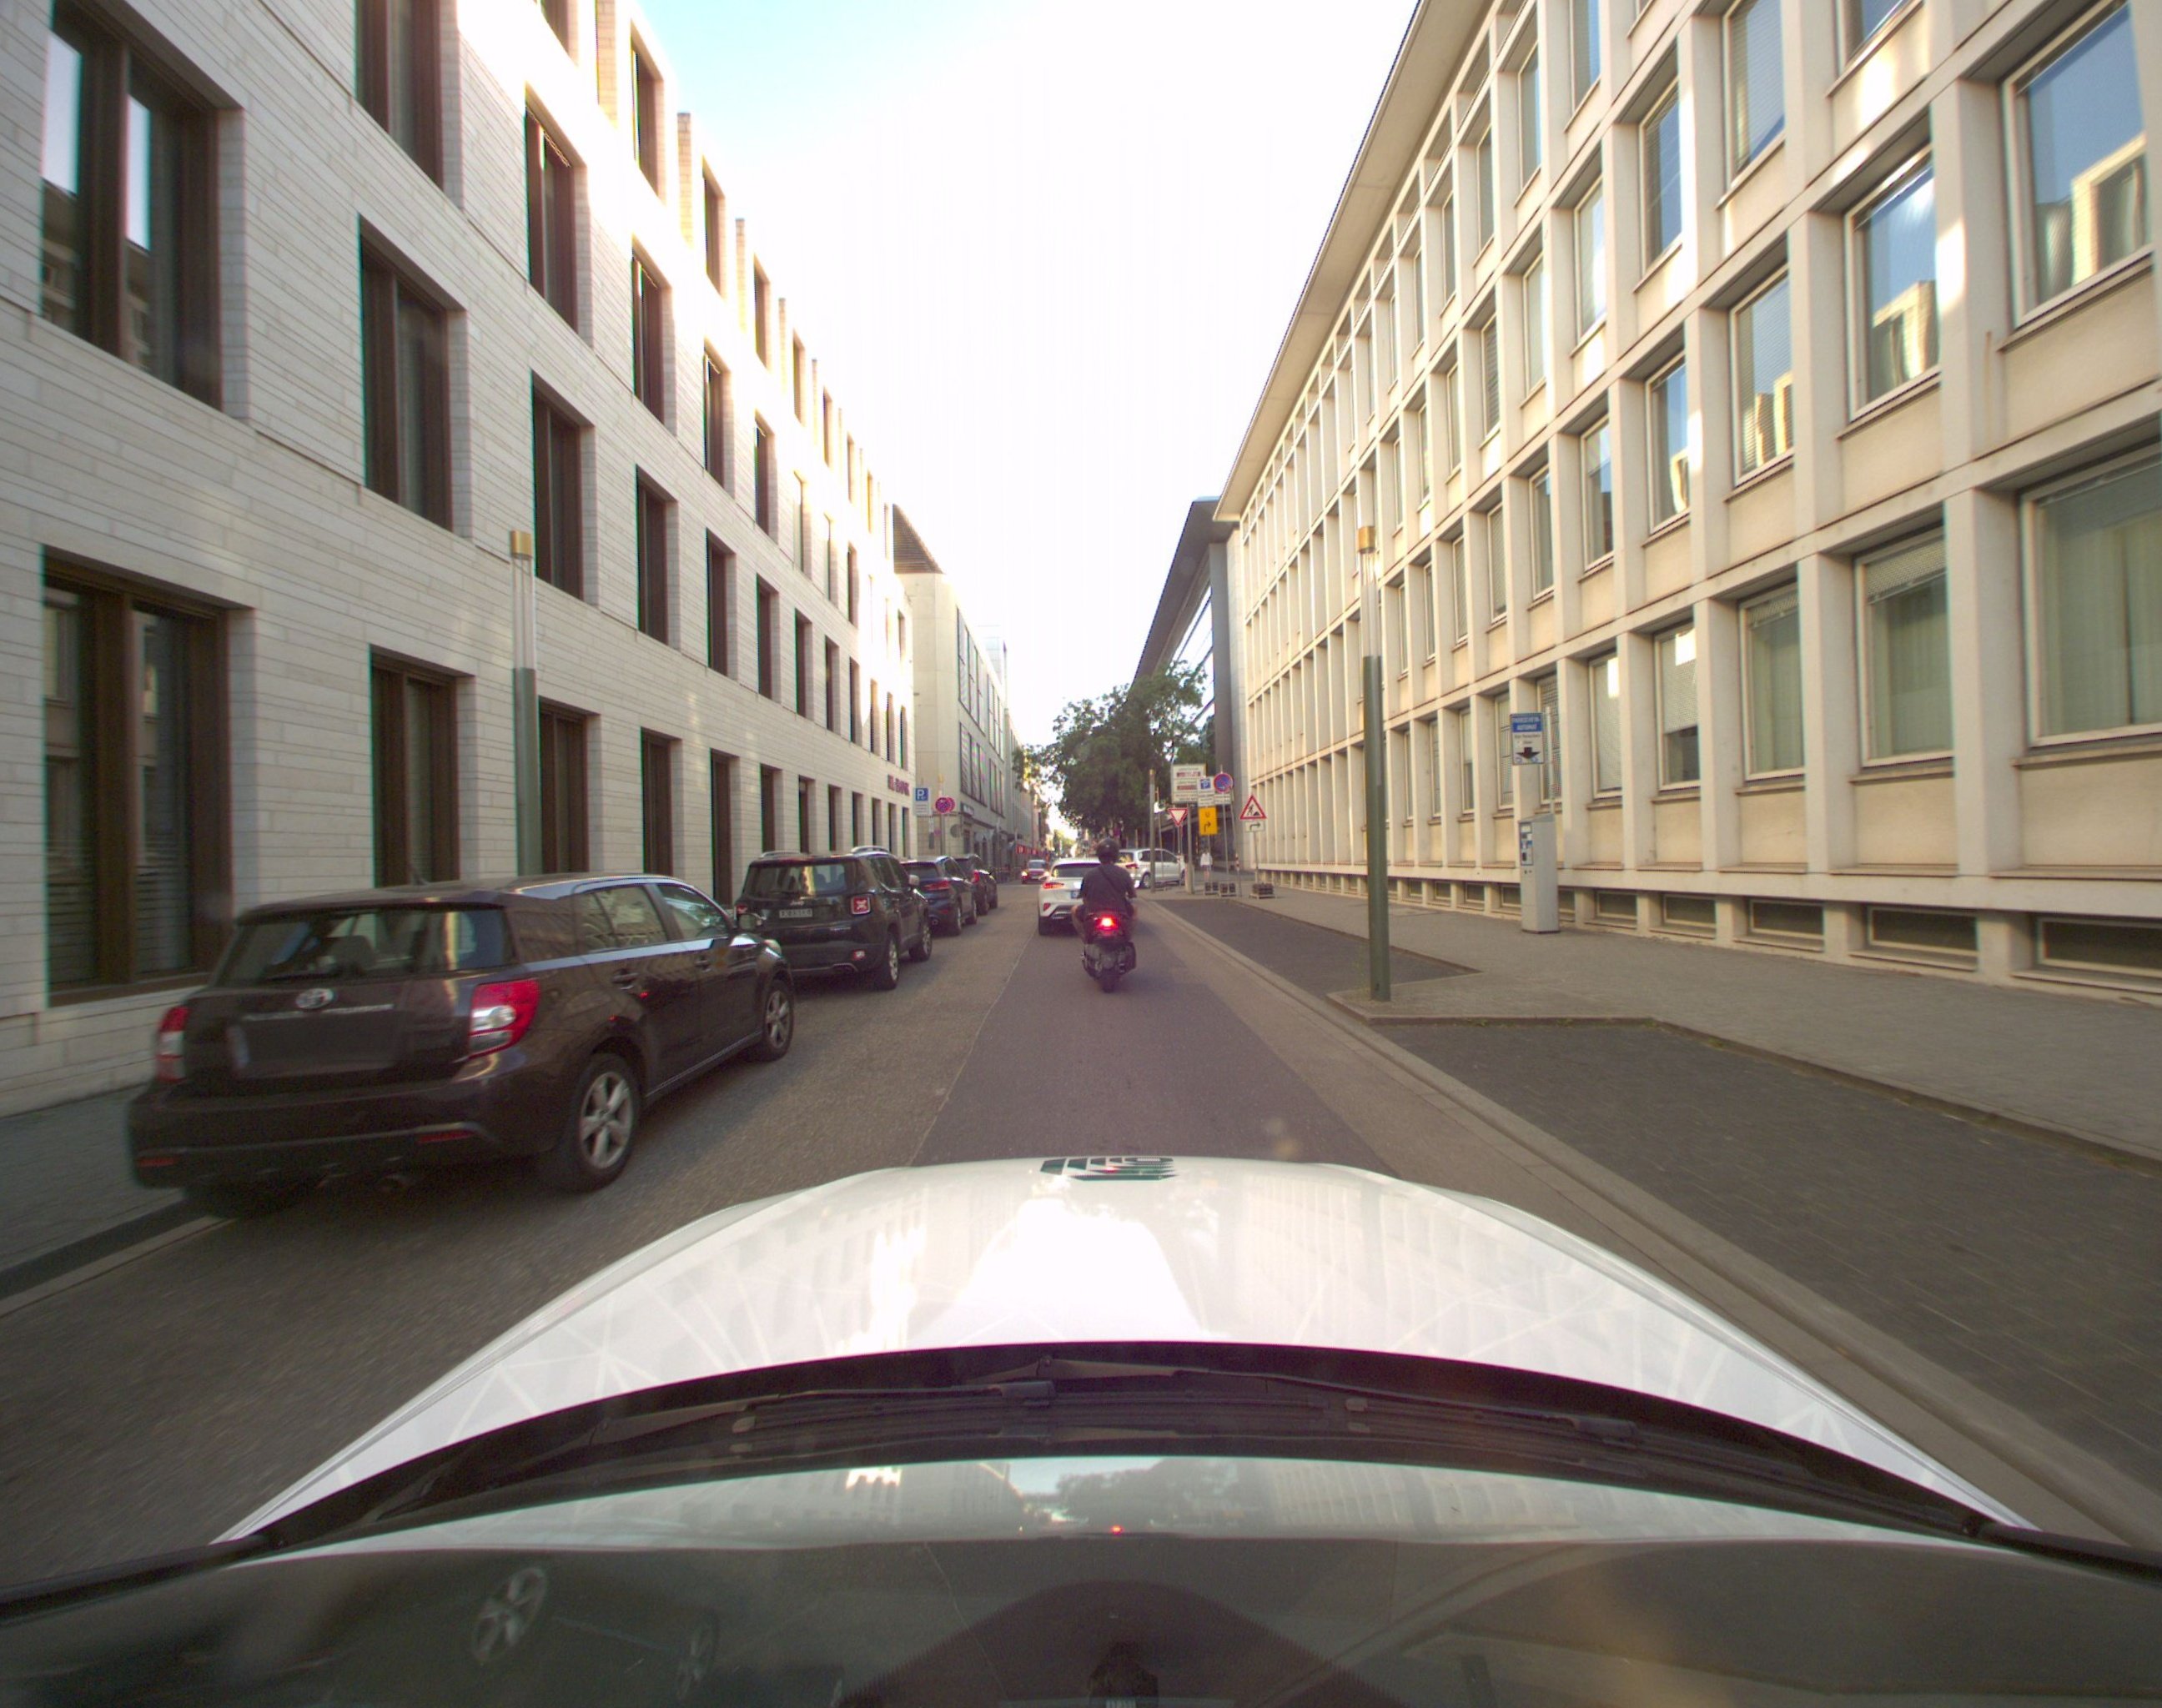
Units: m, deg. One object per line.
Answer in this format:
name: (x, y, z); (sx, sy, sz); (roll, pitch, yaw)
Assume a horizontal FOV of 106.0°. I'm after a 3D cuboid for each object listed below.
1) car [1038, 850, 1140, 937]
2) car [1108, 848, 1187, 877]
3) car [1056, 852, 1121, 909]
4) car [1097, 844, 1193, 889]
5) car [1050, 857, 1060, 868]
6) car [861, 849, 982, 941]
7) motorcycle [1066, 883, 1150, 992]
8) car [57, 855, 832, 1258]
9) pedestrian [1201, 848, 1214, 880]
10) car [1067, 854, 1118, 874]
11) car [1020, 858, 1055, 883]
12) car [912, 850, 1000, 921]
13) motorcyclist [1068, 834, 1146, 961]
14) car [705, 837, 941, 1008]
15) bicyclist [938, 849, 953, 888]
car: (0.108, 0.713, 17.011); (1.817, 1.541, 4.261); (-2, 0, -1)
car: (4.423, 0.590, 54.804); (4.994, 1.451, 1.998); (-5, -1, -3)
car: (0.172, 0.770, 26.173); (1.817, 1.541, 4.362); (-4, 0, -1)
car: (2.857, 0.514, 35.528); (1.804, 1.645, 4.523); (-4, 0, 39)
car: (-5.406, 1.772, 168.017); (1.989, 2.329, 5.015); (0, 0, -3)
car: (-3.230, 0.763, 17.314); (1.735, 1.594, 4.151); (-4, 0, -1)
motorcycle: (0.299, 0.926, 9.630); (0.869, 1.109, 1.839); (-1, -1, 0)
car: (-3.204, 0.809, 5.415); (1.817, 1.541, 4.261); (-2, 0, -1)
pedestrian: (6.504, 0.518, 41.742); (0.557, 1.584, 0.598); (-1, -1, 1)
car: (1.120, 1.031, 82.397); (4.994, 1.499, 1.998); (-5, -1, -3)
car: (-2.764, 1.108, 52.447); (1.815, 1.465, 4.264); (-2, -2, 2)
car: (-3.404, 0.794, 22.950); (1.817, 1.677, 4.261); (-4, 0, -1)
motorcyclist: (0.295, 0.500, 9.513); (0.864, 1.427, 0.455); (-1, -1, 0)
car: (-3.127, 0.732, 10.807); (1.817, 1.714, 4.015); (-4, 0, -1)
bicyclist: (-6.198, 0.661, 37.335); (0.552, 1.732, 0.497); (0, -1, -24)
